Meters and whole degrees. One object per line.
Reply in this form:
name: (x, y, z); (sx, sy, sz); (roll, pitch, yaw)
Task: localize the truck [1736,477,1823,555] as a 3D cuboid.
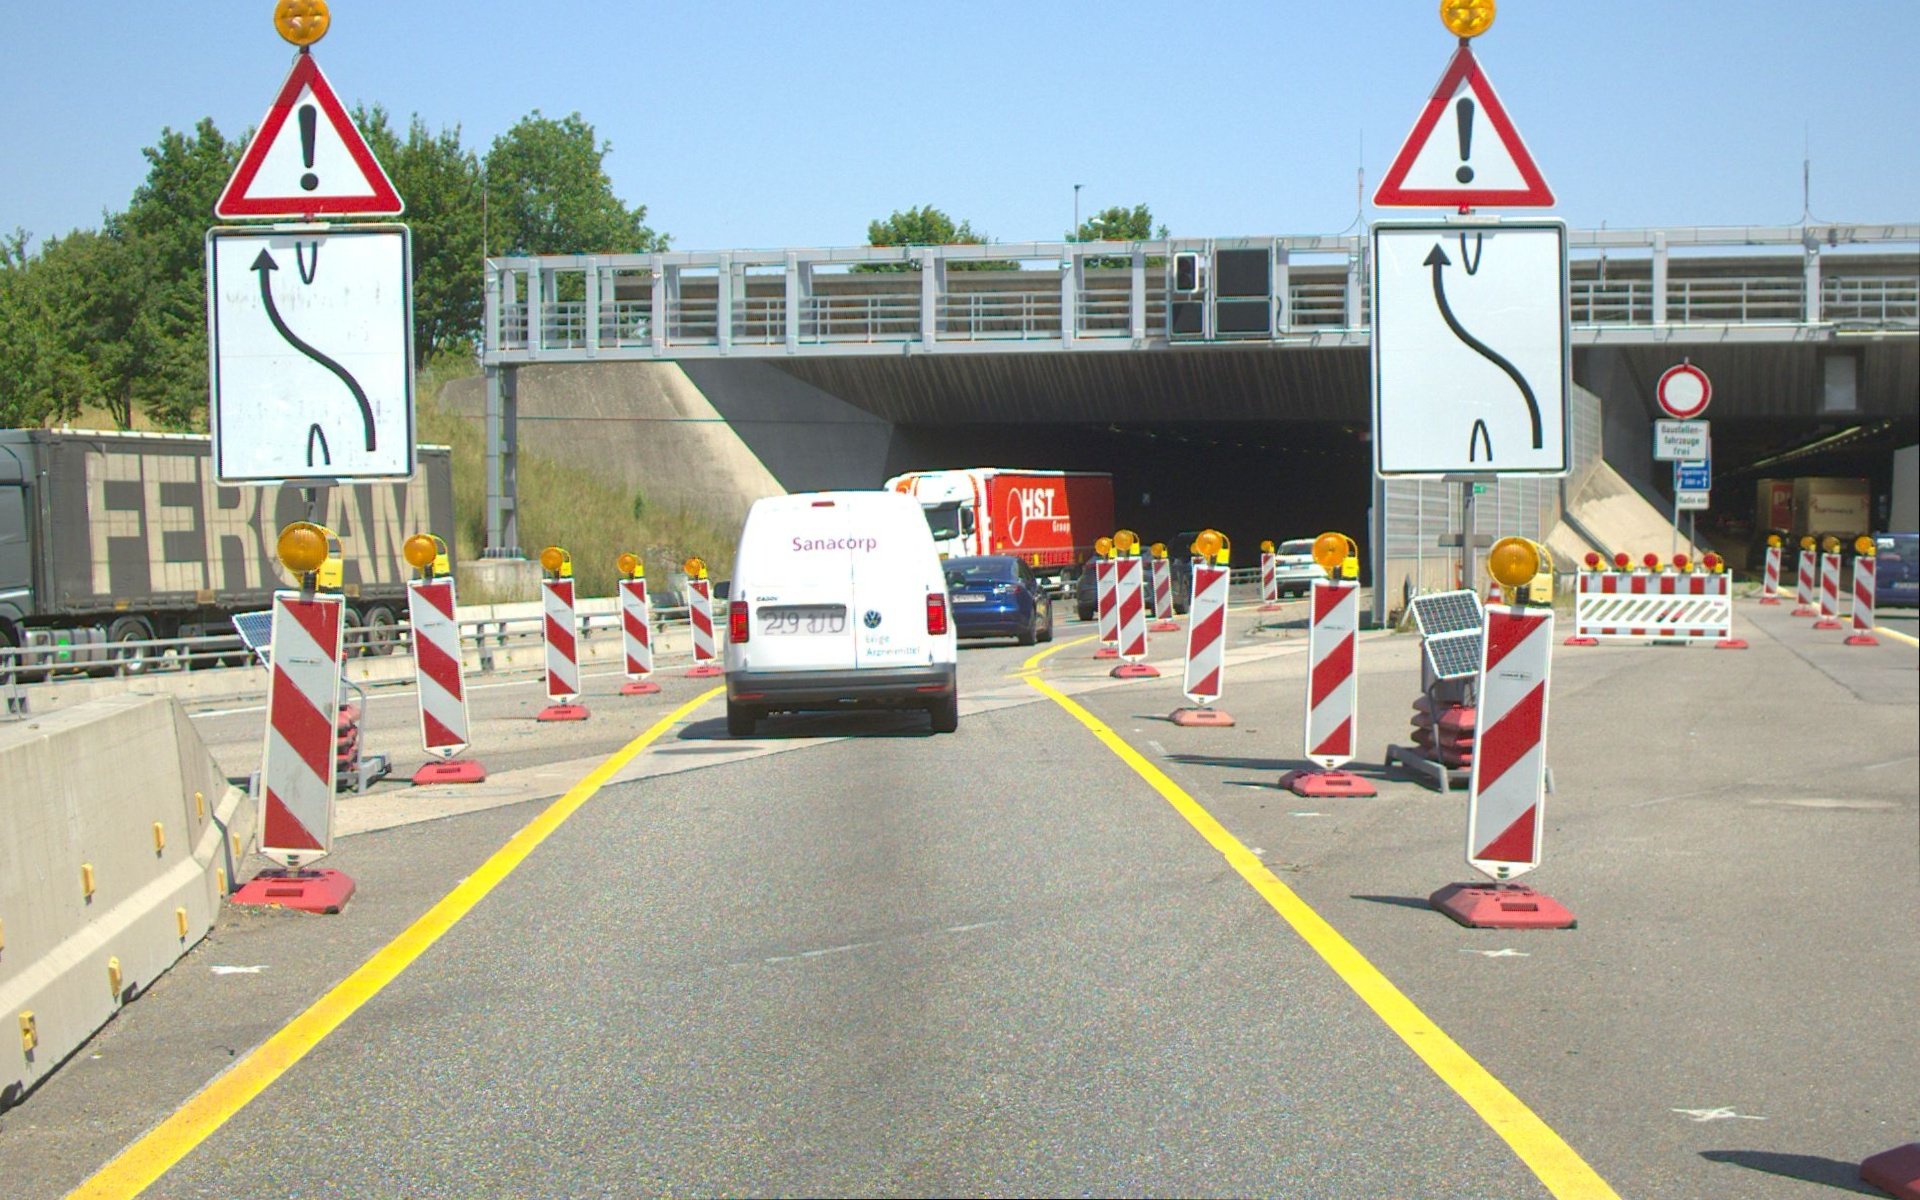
truck: (46.158, -4.645, 194.114); (3.403, 4.057, 16.530); (2, 1, 9)

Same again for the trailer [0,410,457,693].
trailer: (-12.851, -0.827, 59.073); (2.438, 4.282, 13.797); (0, 1, 18)

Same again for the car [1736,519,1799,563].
car: (31.014, -2.256, 132.178); (1.815, 1.624, 4.189); (2, 1, 6)

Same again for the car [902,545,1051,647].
car: (0.306, -0.092, 54.429); (1.809, 1.532, 4.408); (-1, 1, 8)

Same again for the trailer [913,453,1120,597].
trailer: (1.891, -2.225, 104.495); (2.340, 4.088, 13.249); (-1, 1, 19)

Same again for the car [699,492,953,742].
car: (-0.972, 0.103, 26.733); (1.808, 1.788, 3.731); (-1, 1, 0)

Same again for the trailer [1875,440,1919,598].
trailer: (26.502, -2.073, 91.405); (2.733, 4.048, 14.089); (2, 1, 9)

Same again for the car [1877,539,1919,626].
car: (18.973, -0.325, 67.490); (1.816, 1.637, 4.649); (2, 1, 15)

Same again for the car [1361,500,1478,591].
car: (14.886, -1.730, 111.048); (2.816, 2.764, 7.096); (1, 0, 15)

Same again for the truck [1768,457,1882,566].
truck: (38.808, -3.853, 154.822); (3.403, 4.320, 16.529); (2, 0, 9)

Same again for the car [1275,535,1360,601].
car: (9.847, -0.891, 94.449); (1.809, 1.745, 4.407); (-1, 1, 13)

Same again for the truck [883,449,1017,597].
truck: (-0.241, -2.165, 98.103); (2.336, 4.094, 5.013); (-1, 0, 18)

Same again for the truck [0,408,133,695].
truck: (-15.000, -0.734, 52.427); (2.433, 4.255, 4.834); (0, 1, 18)

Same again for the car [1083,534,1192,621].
car: (3.890, -0.495, 74.730); (1.809, 1.809, 4.408); (-1, 1, 10)
